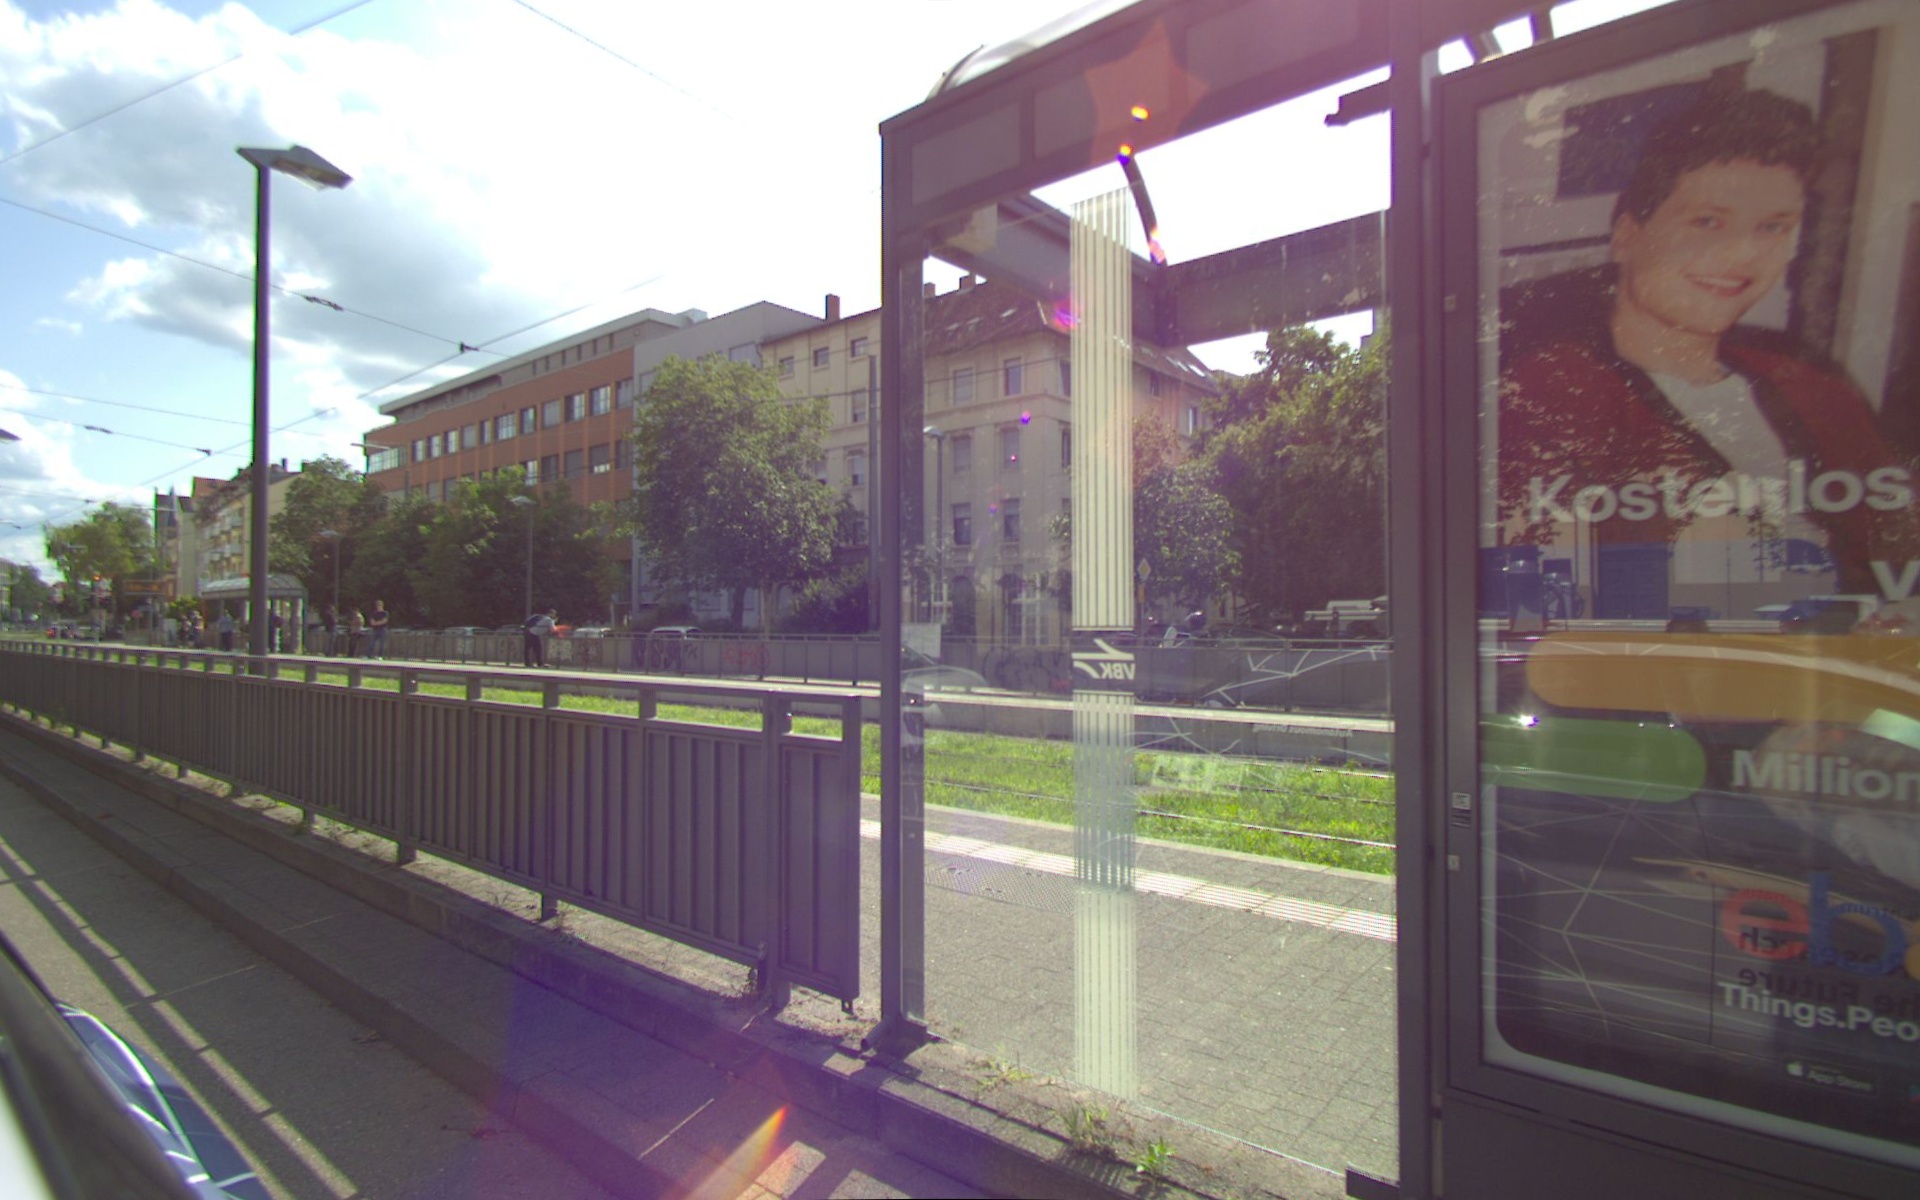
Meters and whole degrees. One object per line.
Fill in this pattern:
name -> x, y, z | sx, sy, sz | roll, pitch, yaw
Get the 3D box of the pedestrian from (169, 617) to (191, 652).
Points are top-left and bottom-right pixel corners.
pedestrian -> -39.344, 1.736, 51.040 | 0.797, 1.712, 0.659 | -1, -2, 38

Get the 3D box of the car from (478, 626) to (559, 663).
car -> -19.892, 1.972, 45.798 | 1.590, 1.580, 3.992 | -1, -2, 6

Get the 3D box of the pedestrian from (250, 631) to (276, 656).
pedestrian -> -28.407, 1.789, 41.241 | 0.562, 1.002, 0.698 | -1, -3, 37

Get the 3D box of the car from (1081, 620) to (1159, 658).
car -> 7.601, 1.854, 47.821 | 1.822, 1.746, 3.946 | -1, -3, 40

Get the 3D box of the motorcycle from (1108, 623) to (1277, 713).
motorcycle -> 3.730, 1.064, 16.405 | 2.515, 1.349, 1.004 | -2, -3, 41

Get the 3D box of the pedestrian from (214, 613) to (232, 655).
pedestrian -> -31.140, 1.429, 42.766 | 0.623, 1.739, 0.481 | -1, -1, 39

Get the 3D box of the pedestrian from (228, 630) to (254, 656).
pedestrian -> -29.787, 1.791, 41.925 | 0.623, 1.039, 0.713 | -1, -3, 37

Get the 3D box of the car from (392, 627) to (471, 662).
car -> -26.672, 2.207, 51.215 | 1.651, 1.540, 3.995 | -2, 0, 4

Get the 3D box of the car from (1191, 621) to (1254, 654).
car -> 14.483, 2.093, 55.641 | 1.822, 1.731, 3.946 | -1, -3, 40

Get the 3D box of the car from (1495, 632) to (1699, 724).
car -> 11.629, 1.358, 18.803 | 1.590, 1.497, 3.991 | 0, -2, 7

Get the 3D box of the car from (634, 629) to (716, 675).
car -> -10.475, 1.895, 37.480 | 1.899, 1.576, 4.153 | 1, -2, -1

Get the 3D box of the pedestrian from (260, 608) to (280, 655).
pedestrian -> -27.592, 1.258, 40.472 | 0.623, 1.841, 0.438 | -1, -2, 38

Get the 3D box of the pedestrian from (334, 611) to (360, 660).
pedestrian -> -21.573, 1.243, 35.603 | 0.624, 1.687, 0.600 | -1, -2, 40

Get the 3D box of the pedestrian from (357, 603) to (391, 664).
pedestrian -> -18.543, 1.045, 32.022 | 0.639, 1.906, 0.742 | 1, 0, 42

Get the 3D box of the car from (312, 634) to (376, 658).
car -> -35.849, 2.672, 58.944 | 1.583, 1.314, 3.247 | 0, -2, 5

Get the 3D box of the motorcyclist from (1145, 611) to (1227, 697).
motorcyclist -> 3.683, 0.869, 16.502 | 0.986, 1.349, 0.928 | -2, -3, 41

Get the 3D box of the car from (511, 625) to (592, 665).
car -> -17.667, 1.927, 43.951 | 1.809, 1.652, 4.135 | 1, -2, 1

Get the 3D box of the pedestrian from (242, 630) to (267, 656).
pedestrian -> -29.252, 1.781, 41.979 | 0.562, 1.038, 0.647 | 7, 1, 37

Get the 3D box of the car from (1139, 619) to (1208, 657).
car -> 10.951, 1.973, 51.770 | 1.822, 1.845, 3.946 | -1, -3, 40

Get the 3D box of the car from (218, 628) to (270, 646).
car -> -63.177, 3.264, 89.350 | 3.558, 1.491, 1.776 | 2, -6, -43

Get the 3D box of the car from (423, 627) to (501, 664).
car -> -24.266, 2.183, 49.458 | 1.651, 1.540, 3.996 | -2, 0, 3

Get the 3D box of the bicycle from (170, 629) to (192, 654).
bicycle -> -36.281, 1.927, 47.148 | 0.653, 1.122, 1.880 | 3, -4, -41

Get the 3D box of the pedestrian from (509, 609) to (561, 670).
pedestrian -> -11.268, 1.035, 26.844 | 0.797, 1.590, 0.979 | -1, -2, 37

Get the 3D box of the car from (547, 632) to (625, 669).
car -> -15.337, 2.034, 41.707 | 1.790, 1.402, 4.023 | -1, -2, 0

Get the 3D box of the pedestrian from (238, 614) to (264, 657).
pedestrian -> -27.079, 1.353, 38.668 | 0.556, 1.645, 0.593 | -2, -3, 26

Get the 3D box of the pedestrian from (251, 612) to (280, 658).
pedestrian -> -27.013, 1.368, 39.349 | 1.035, 1.756, 0.626 | -1, -2, 38

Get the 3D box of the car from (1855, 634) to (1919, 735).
car -> 16.007, 1.320, 15.347 | 1.699, 1.591, 3.941 | 0, -2, 8

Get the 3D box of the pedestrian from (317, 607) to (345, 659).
pedestrian -> -21.739, 1.138, 34.963 | 0.599, 1.767, 0.626 | 1, -1, -9

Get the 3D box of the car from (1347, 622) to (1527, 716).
car -> 9.402, 1.310, 20.341 | 1.803, 1.652, 3.996 | -2, -2, 3

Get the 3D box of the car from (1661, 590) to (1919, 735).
car -> 13.643, 0.954, 16.525 | 2.027, 2.086, 3.940 | -1, -2, 9

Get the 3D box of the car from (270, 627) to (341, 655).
car -> -40.375, 2.513, 62.566 | 1.850, 1.671, 3.841 | 0, -2, 1

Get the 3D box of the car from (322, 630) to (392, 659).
car -> -33.733, 2.465, 56.690 | 1.567, 1.431, 3.302 | -1, 0, 10

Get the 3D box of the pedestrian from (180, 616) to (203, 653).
pedestrian -> -35.935, 1.608, 47.293 | 0.797, 1.737, 0.632 | -1, -2, 38

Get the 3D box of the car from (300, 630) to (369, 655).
car -> -38.150, 2.567, 61.809 | 1.629, 1.508, 3.996 | 0, -2, 3
